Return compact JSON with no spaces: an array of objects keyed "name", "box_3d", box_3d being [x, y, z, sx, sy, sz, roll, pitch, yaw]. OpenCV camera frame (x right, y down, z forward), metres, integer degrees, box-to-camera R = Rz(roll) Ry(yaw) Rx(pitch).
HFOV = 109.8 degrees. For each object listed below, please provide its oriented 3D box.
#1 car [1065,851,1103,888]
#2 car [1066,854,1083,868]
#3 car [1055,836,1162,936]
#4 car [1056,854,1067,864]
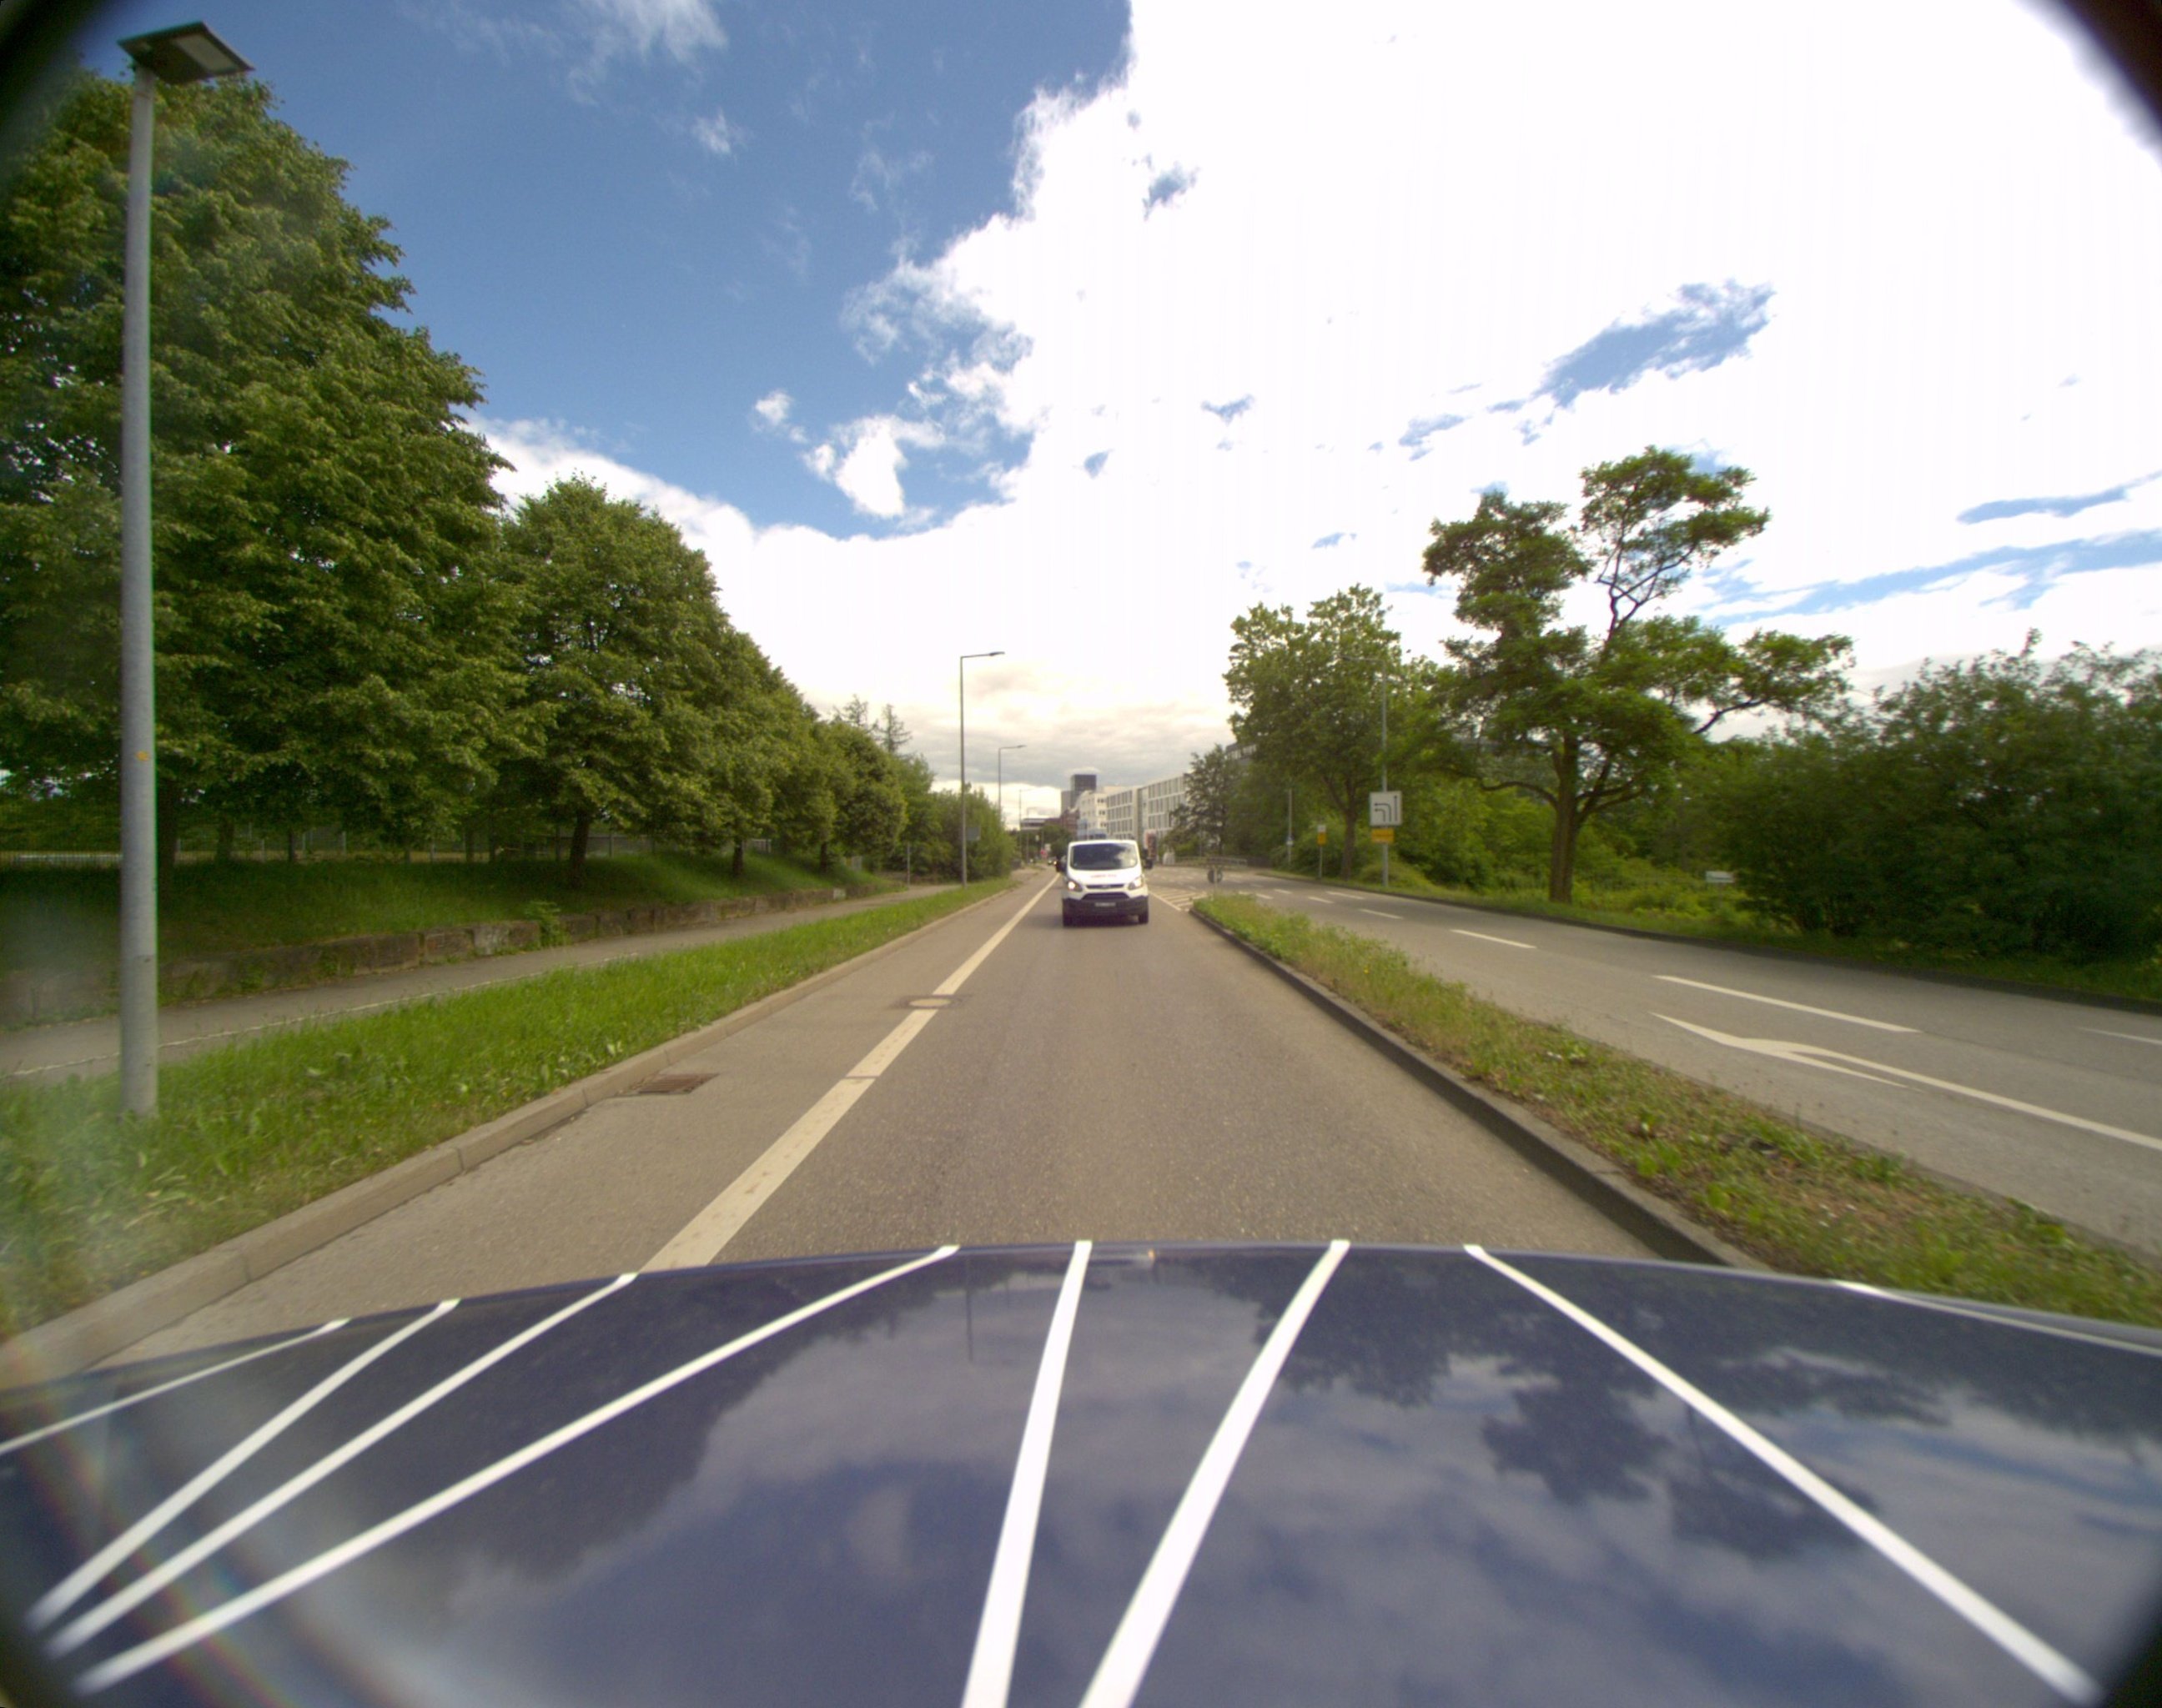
[{"name":"car","box_3d":[0.146,0.777,40.727,1.872,1.836,4.371,-2,0,-1]},{"name":"car","box_3d":[-0.838,0.914,95.743,1.873,1.685,4.369,-2,0,-5]},{"name":"car","box_3d":[0.533,0.650,18.468,2.122,1.963,6.206,-2,0,0]},{"name":"car","box_3d":[-3.595,0.926,139.753,1.873,1.685,4.370,-2,0,-4]}]
